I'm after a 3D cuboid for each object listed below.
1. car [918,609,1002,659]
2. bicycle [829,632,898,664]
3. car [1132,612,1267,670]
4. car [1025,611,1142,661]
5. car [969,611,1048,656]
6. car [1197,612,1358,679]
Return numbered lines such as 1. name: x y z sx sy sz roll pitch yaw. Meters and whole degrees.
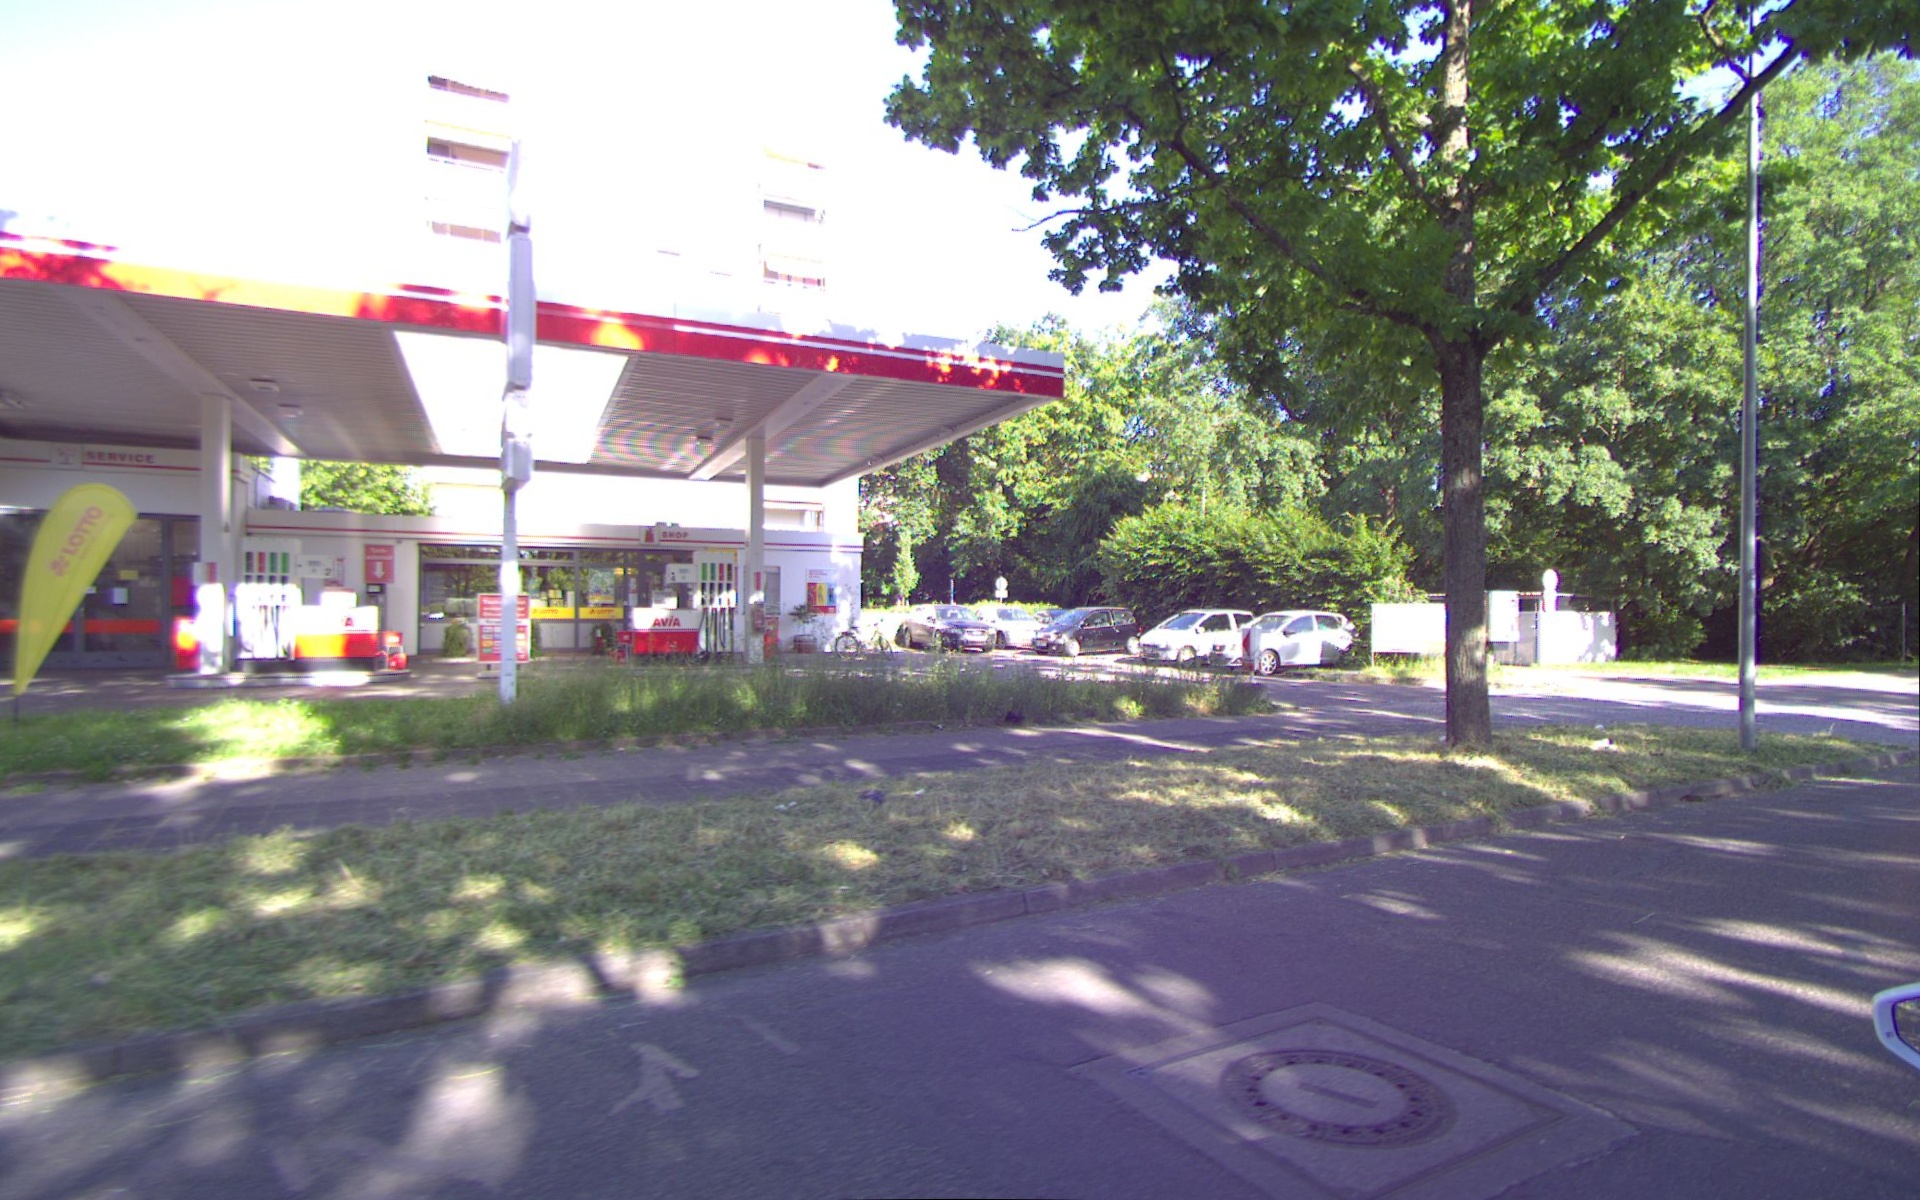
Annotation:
1. car: -0.062 1.039 31.764 1.562 1.419 3.188 1 1 -22
2. bicycle: -2.556 1.266 26.530 1.751 0.818 0.617 1 -1 -16
3. car: 6.184 1.025 25.955 3.159 1.386 1.419 1 1 -23
4. car: 3.645 1.041 29.732 3.159 1.386 1.419 1 1 -23
5. car: 1.580 1.091 33.598 1.438 1.335 3.188 1 1 -22
6. car: 7.478 1.036 23.696 3.437 1.441 1.543 1 1 -23
